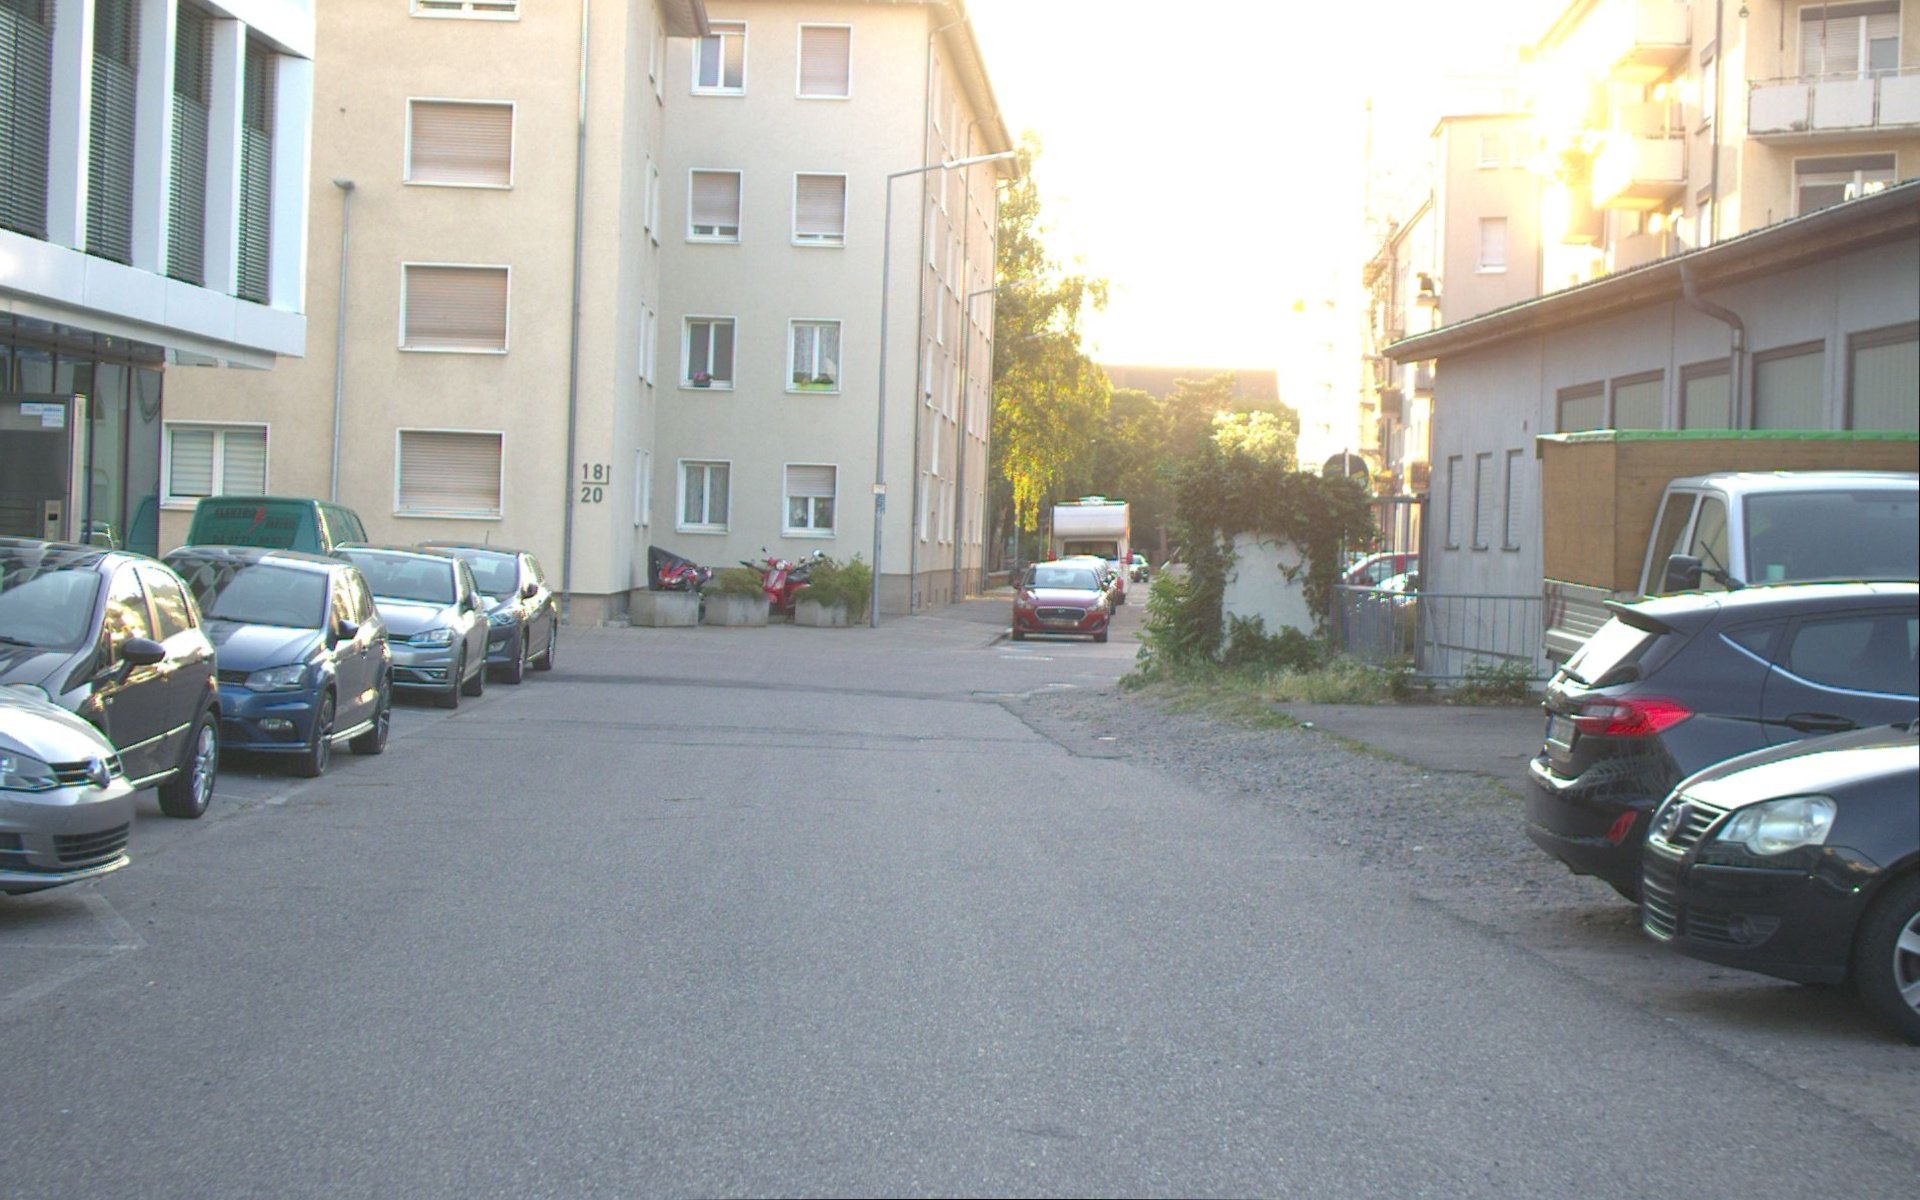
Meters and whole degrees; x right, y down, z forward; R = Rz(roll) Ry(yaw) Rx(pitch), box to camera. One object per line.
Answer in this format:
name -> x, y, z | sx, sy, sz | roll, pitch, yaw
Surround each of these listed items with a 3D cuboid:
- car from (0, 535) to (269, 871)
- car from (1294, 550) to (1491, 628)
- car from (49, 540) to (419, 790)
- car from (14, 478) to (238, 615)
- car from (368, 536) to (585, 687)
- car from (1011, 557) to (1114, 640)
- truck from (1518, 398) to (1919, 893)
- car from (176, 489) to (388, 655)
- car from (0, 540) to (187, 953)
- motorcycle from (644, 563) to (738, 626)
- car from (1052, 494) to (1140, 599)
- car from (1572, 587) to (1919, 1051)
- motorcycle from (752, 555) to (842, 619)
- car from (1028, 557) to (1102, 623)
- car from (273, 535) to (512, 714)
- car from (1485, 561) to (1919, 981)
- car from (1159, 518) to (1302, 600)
car -> -4.972, 0.435, 18.088 | 1.648, 1.434, 4.202 | 5, 1, 1
car -> 10.793, -0.279, 86.013 | 4.722, 1.903, 2.059 | 0, 0, 3
car -> -4.943, 0.378, 23.942 | 1.648, 1.434, 4.185 | 5, 1, -1
car -> -10.670, -0.647, 44.280 | 1.779, 1.545, 4.331 | 2, -1, 0
car -> -5.491, 0.088, 39.531 | 1.779, 1.474, 4.331 | 5, 1, 0
car -> 1.946, -0.046, 65.431 | 1.845, 1.468, 4.078 | 2, 1, 2
truck -> 4.542, 0.189, 18.307 | 2.098, 2.193, 5.711 | 2, 1, 0
car -> -8.677, -0.405, 44.378 | 1.797, 1.973, 4.690 | 2, 2, -1
car -> -5.321, 0.450, 13.868 | 3.927, 1.506, 1.687 | 3, 1, 3
motorcycle -> -4.773, -0.095, 61.176 | 0.724, 1.075, 2.078 | 2, 1, 24
car -> 4.432, -1.714, 110.850 | 2.620, 3.258, 7.696 | 0, 1, 3
car -> 4.204, 0.772, 11.875 | 3.759, 1.439, 1.845 | 3, 0, -1
motorcycle -> -3.000, -0.234, 63.576 | 0.689, 1.156, 2.031 | 2, 1, 27
car -> 2.384, -0.246, 78.222 | 1.616, 1.468, 3.505 | 0, 1, 2
car -> -5.454, 0.183, 33.469 | 1.710, 1.474, 4.185 | 5, 1, -3
car -> 4.230, 0.713, 14.307 | 3.759, 1.530, 1.891 | 3, 2, 1
car -> 9.165, -1.391, 116.692 | 2.129, 2.708, 4.832 | 0, 1, -38
